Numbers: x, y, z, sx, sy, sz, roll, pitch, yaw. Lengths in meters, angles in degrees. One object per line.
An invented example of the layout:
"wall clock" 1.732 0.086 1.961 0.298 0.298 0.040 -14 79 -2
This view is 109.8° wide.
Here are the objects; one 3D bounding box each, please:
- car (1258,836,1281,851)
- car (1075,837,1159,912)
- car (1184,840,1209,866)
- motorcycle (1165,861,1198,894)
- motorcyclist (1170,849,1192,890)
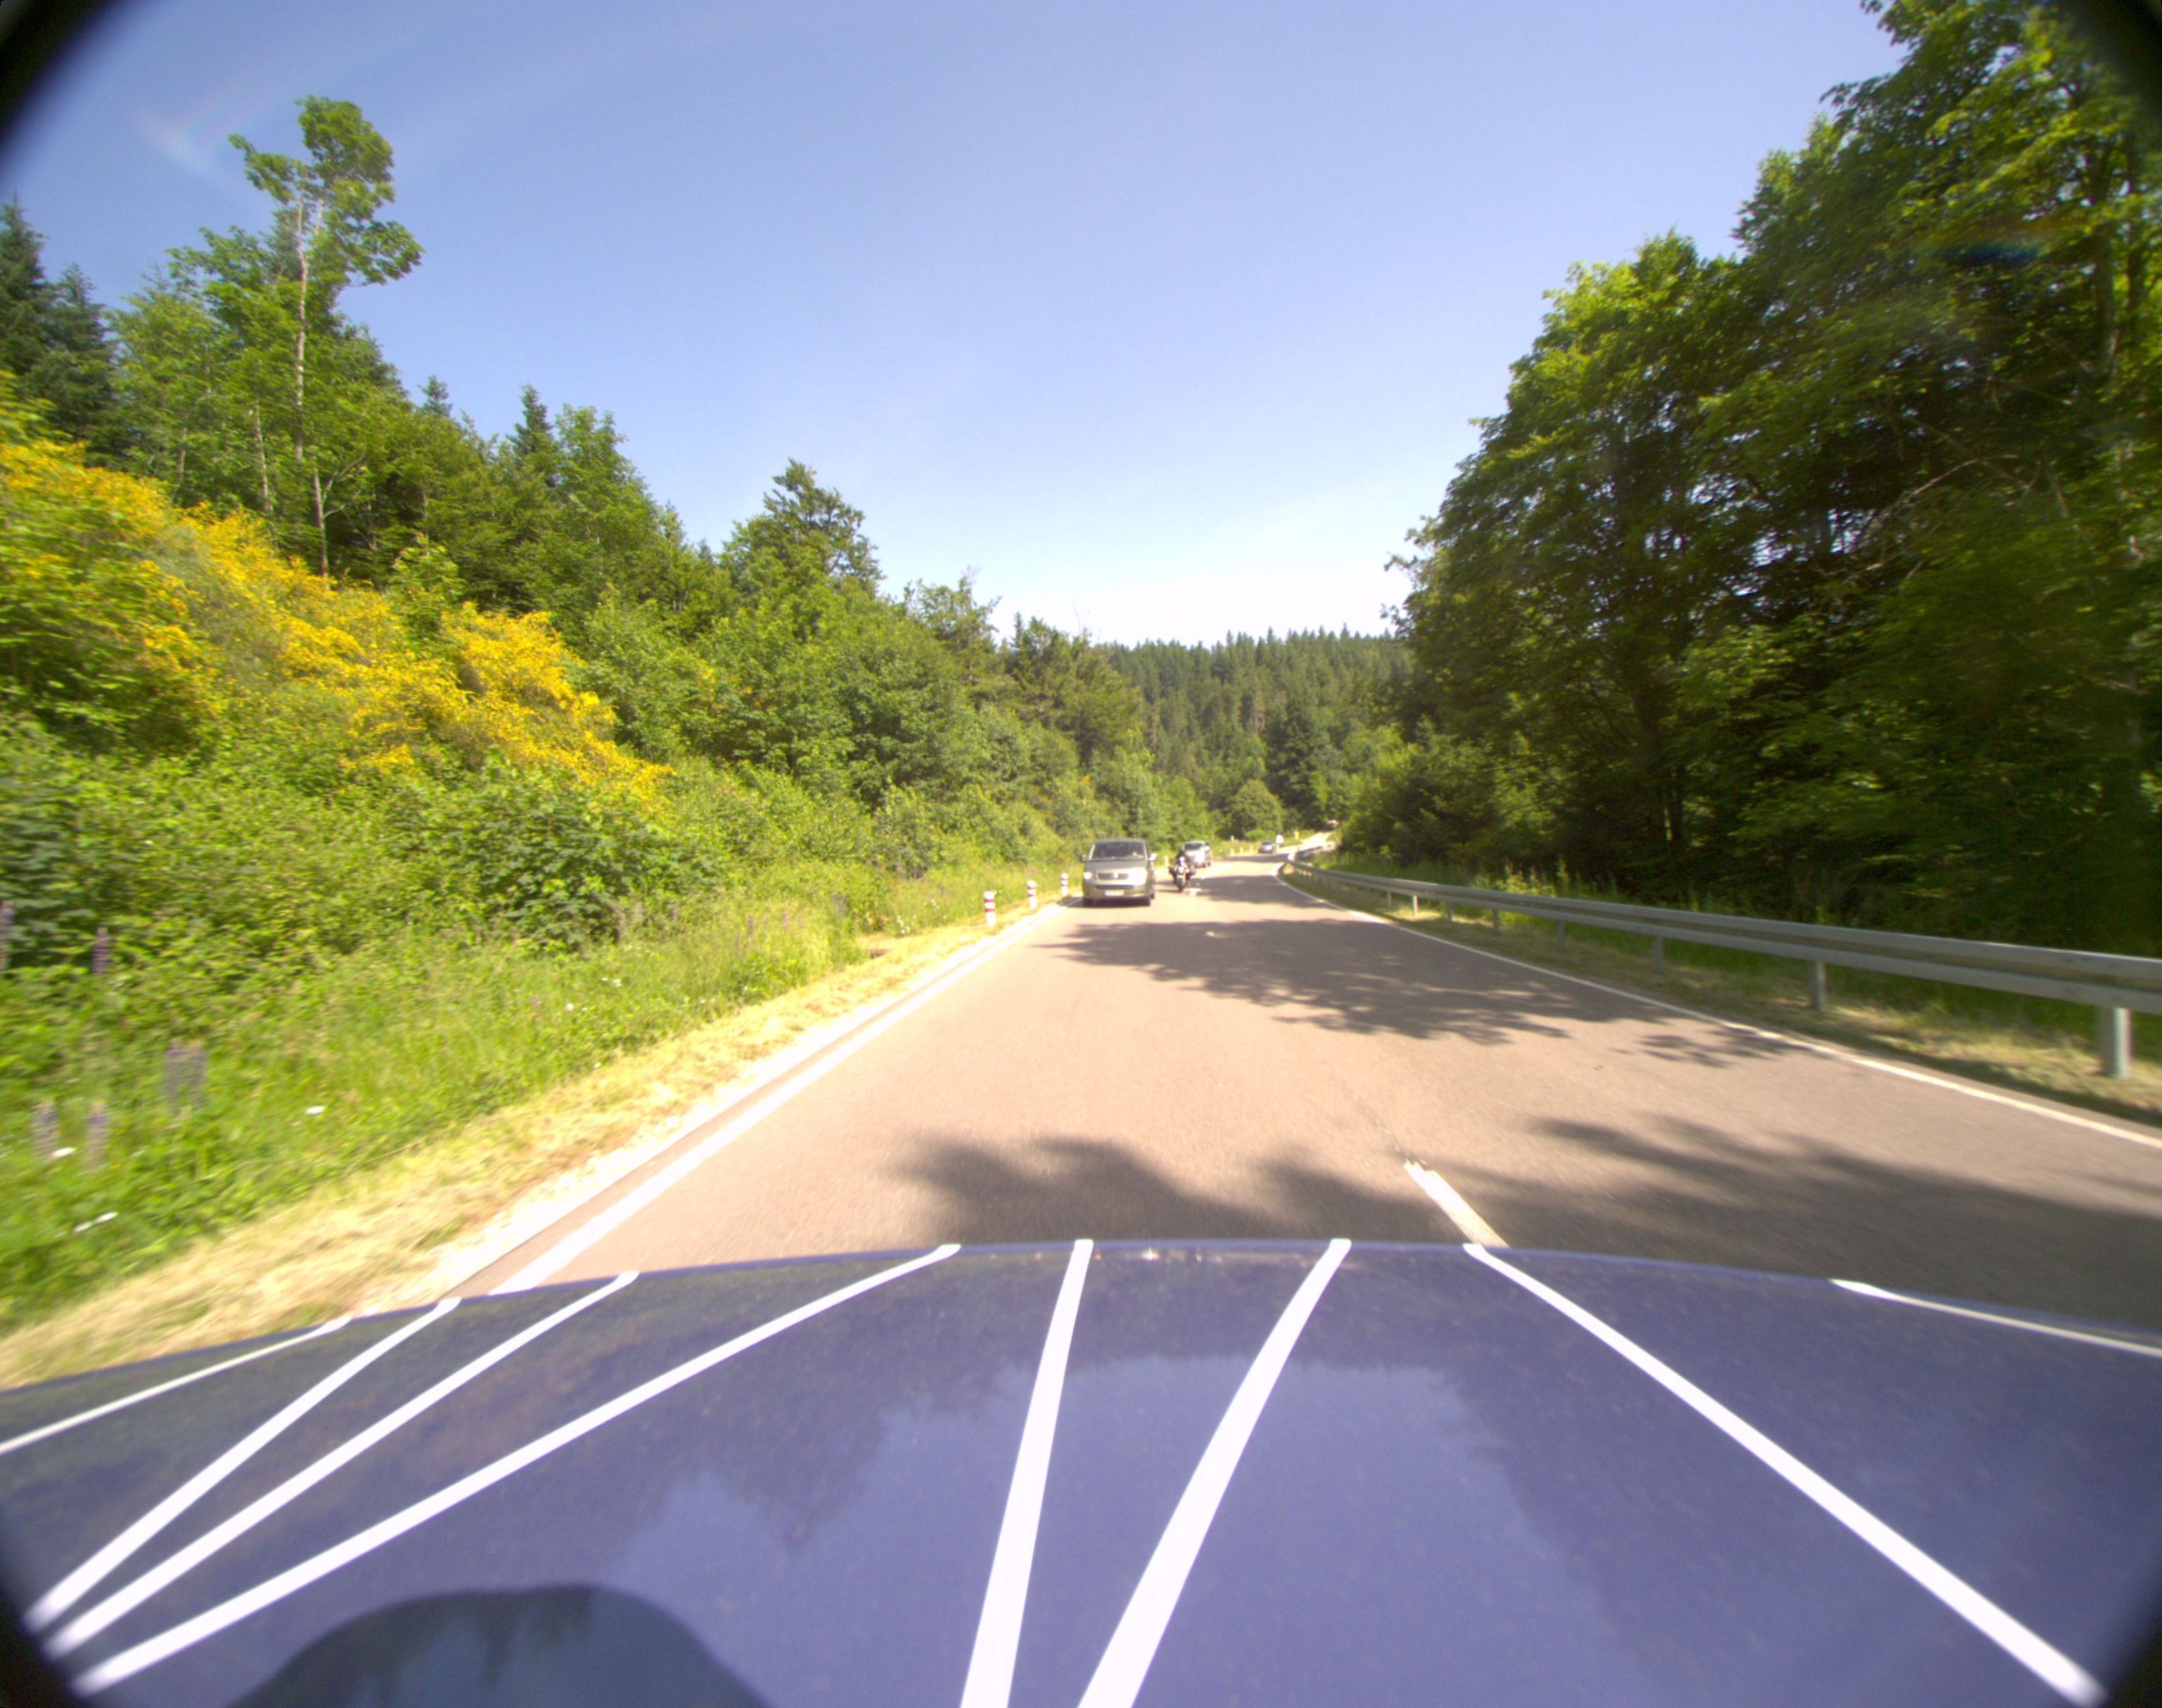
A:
"car" 22.140 -1.250 89.251 1.995 1.634 4.005 -2 2 23
"car" 1.205 0.518 22.677 2.028 1.940 4.901 -1 1 8
"car" 8.339 -0.072 54.664 1.651 1.749 3.796 -1 1 10
"motorcycle" 3.646 0.833 27.537 1.109 1.117 1.962 -2 0 8
"motorcyclist" 3.651 0.562 27.692 0.716 1.422 1.000 -3 1 8
